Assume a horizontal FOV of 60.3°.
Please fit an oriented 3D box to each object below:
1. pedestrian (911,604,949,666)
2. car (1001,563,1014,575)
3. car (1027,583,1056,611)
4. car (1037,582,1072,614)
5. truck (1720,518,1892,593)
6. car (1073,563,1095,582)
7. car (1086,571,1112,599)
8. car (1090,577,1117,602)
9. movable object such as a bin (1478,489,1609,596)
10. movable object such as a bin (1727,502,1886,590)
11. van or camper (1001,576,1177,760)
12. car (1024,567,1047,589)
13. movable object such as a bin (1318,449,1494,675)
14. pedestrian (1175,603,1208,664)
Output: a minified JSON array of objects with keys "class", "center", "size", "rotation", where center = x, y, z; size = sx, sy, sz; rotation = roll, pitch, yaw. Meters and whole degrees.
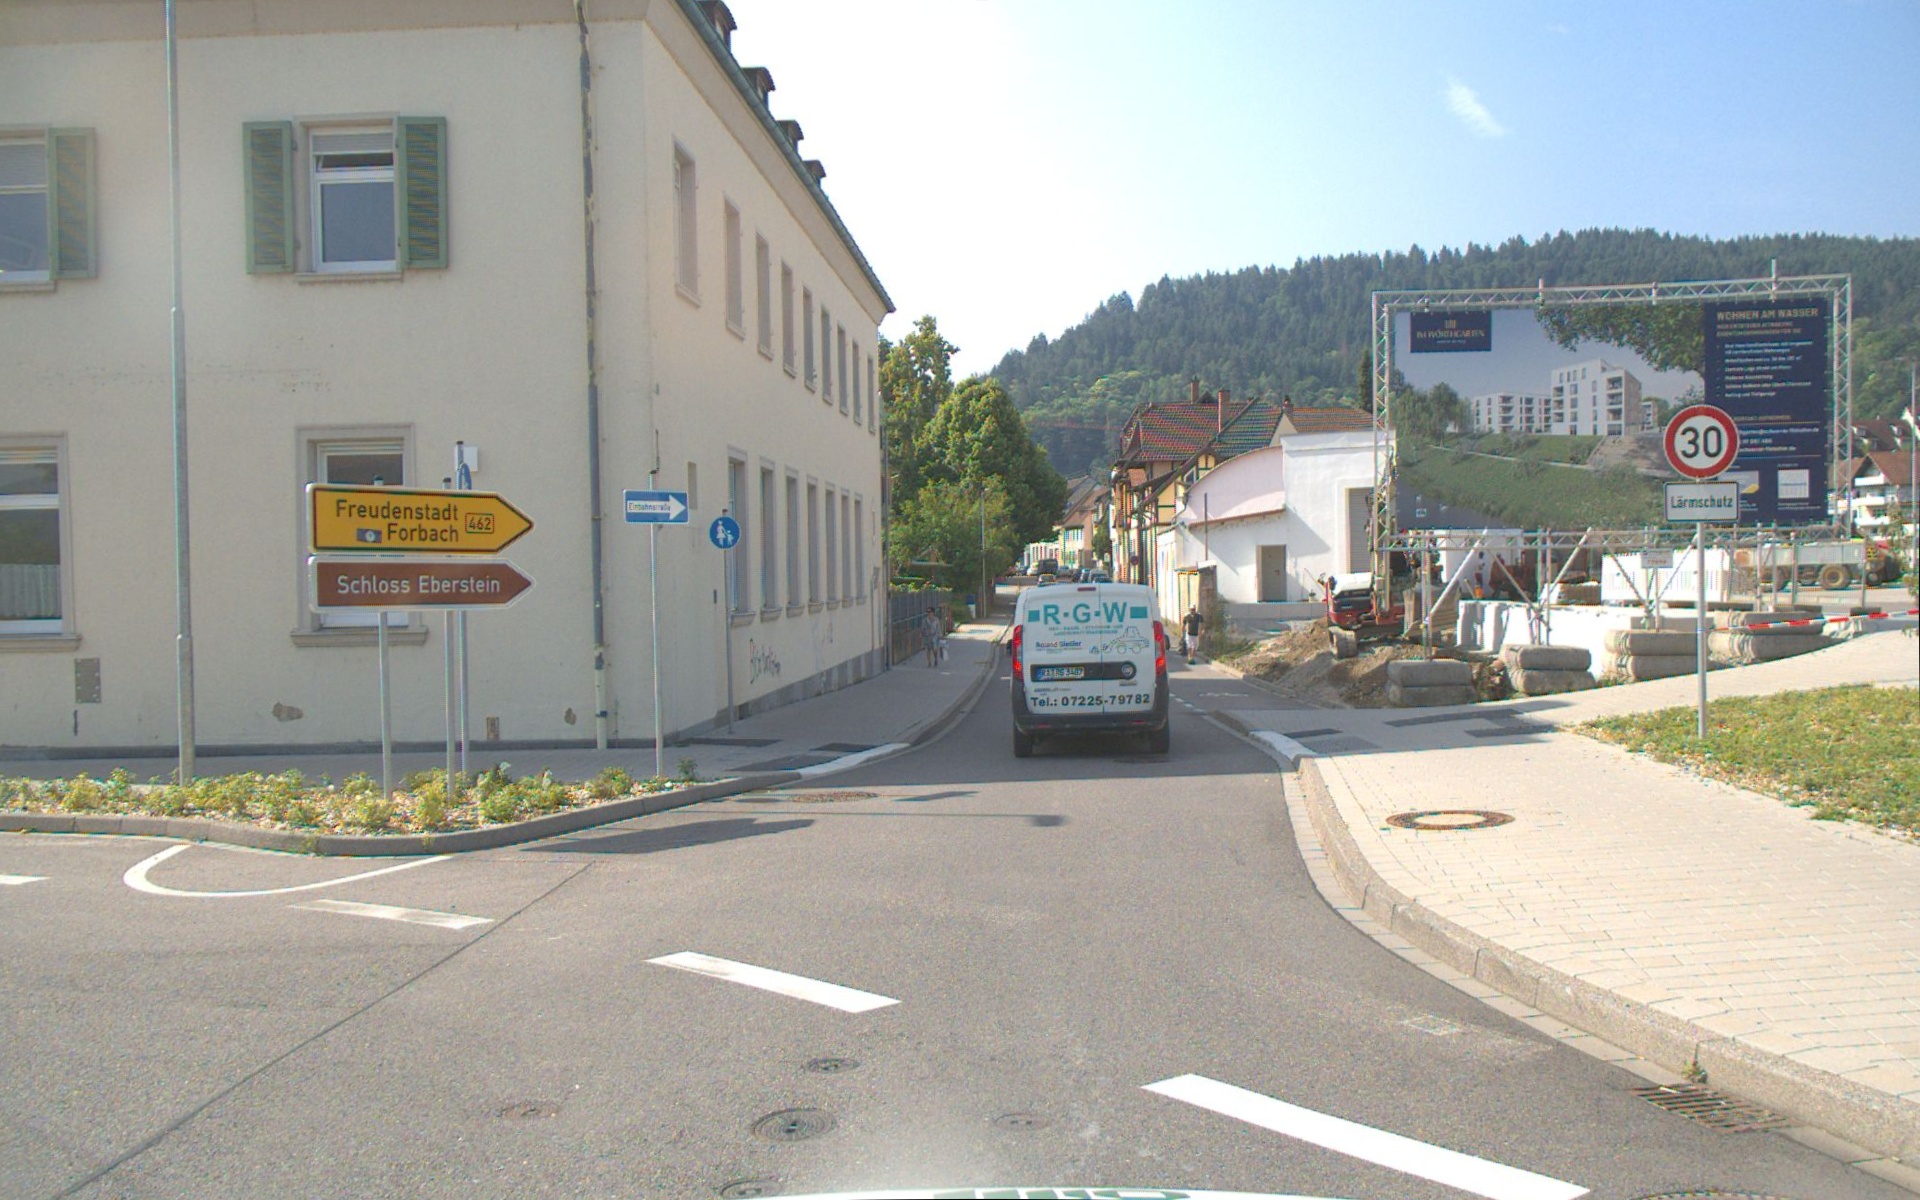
[{"class":"pedestrian","center":[-0.828,0.971,45.743],"size":[0.938,1.659,0.758],"rotation":[2,0,3]},{"class":"car","center":[6.461,-4.197,225.168],"size":[1.773,1.624,3.928],"rotation":[1,2,1]},{"class":"car","center":[5.140,-0.183,104.925],"size":[1.773,1.624,3.928],"rotation":[1,2,2]},{"class":"car","center":[5.073,-0.123,89.458],"size":[1.773,1.624,3.928],"rotation":[1,2,2]},{"class":"truck","center":[29.569,-1.523,57.877],"size":[5.214,2.305,2.215],"rotation":[-3,0,29]},{"class":"car","center":[10.773,-2.373,143.478],"size":[1.635,1.534,4.001],"rotation":[-2,1,1]},{"class":"car","center":[10.634,-1.164,126.992],"size":[1.832,2.048,4.002],"rotation":[0,1,3]},{"class":"car","center":[10.076,-0.763,116.495],"size":[1.772,1.624,3.929],"rotation":[1,2,3]},{"class":"movable object such as a bin","center":[21.382,-2.089,60.423],"size":[2.804,3.684,5.711],"rotation":[2,2,38]},{"class":"movable object such as a bin","center":[28.044,-1.759,54.829],"size":[4.525,2.614,1.922],"rotation":[-3,0,29]},{"class":"van or camper","center":[1.461,0.752,19.557],"size":[1.790,1.877,4.189],"rotation":[-2,-1,3]},{"class":"car","center":[10.217,-2.964,223.997],"size":[2.815,2.885,6.126],"rotation":[-2,1,1]},{"class":"movable object such as a bin","center":[8.644,-0.706,32.848],"size":[2.246,3.921,7.805],"rotation":[1,1,7]},{"class":"pedestrian","center":[6.599,0.937,47.181],"size":[0.870,1.712,0.719],"rotation":[1,0,3]}]
